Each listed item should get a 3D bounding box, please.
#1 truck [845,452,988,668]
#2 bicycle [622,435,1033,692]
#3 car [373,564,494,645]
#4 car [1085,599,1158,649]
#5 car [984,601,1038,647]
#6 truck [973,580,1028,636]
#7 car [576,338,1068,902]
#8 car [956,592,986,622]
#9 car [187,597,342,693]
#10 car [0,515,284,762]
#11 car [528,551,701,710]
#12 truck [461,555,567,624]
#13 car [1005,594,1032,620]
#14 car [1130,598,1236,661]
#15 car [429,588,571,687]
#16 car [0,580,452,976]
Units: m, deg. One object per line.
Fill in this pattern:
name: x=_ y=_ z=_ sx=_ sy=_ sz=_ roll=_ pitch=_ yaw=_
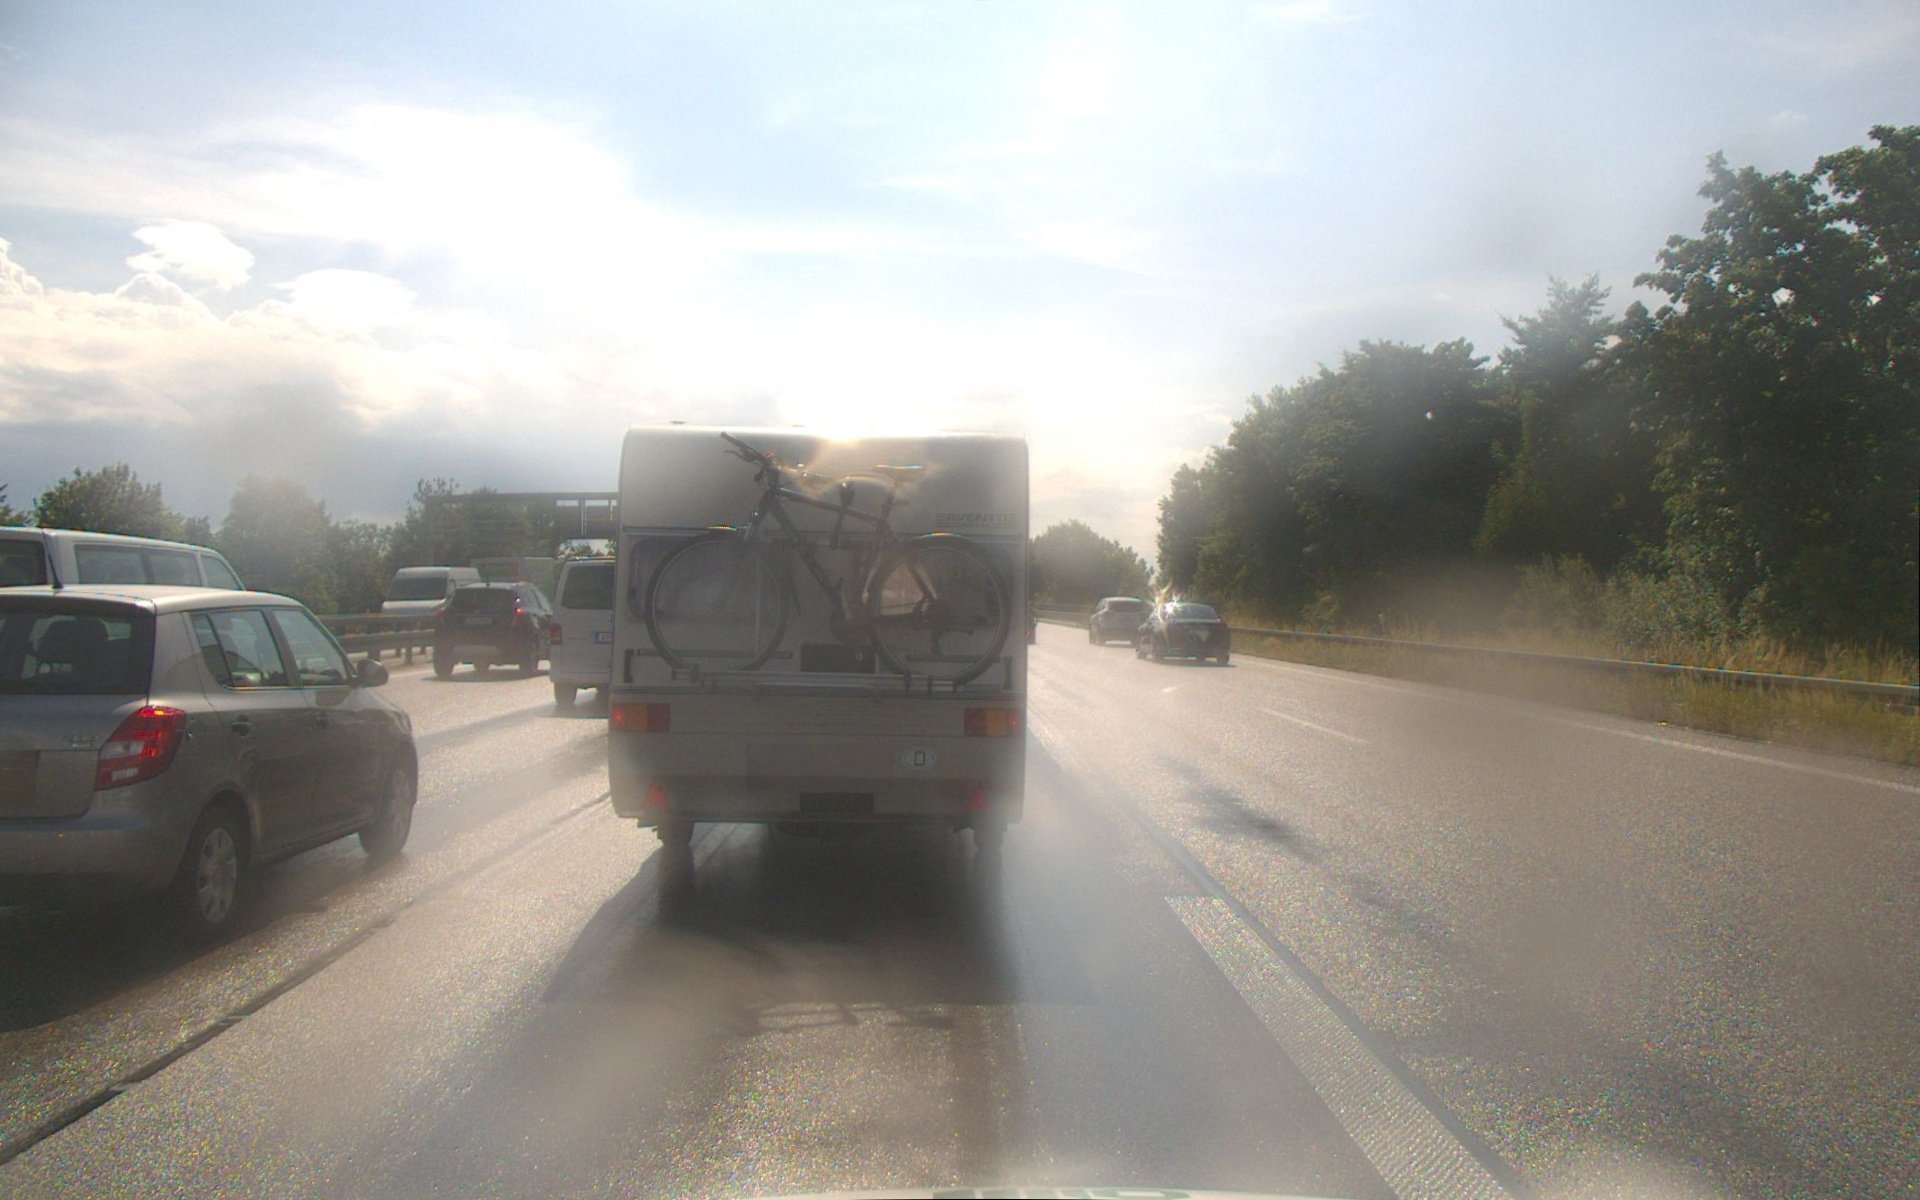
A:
truck: x=-1.170 y=-0.872 z=41.733 sx=3.083 sy=4.707 sz=10.730 roll=1 pitch=0 yaw=-2
bicycle: x=-0.617 y=-0.168 z=7.904 sx=1.894 sy=1.161 sz=0.384 roll=1 pitch=-1 yaw=-1
car: x=-16.893 y=0.132 z=53.432 sx=2.071 sy=2.438 sz=6.101 roll=1 pitch=0 yaw=-1
car: x=5.688 y=0.829 z=58.636 sx=1.840 sy=1.657 sz=3.995 roll=1 pitch=0 yaw=-5
car: x=1.826 y=0.863 z=60.730 sx=1.798 sy=1.585 sz=3.999 roll=1 pitch=0 yaw=-1
truck: x=1.879 y=0.364 z=78.207 sx=2.366 sy=2.486 sz=6.052 roll=1 pitch=0 yaw=-1
car: x=-0.691 y=0.107 z=10.104 sx=2.361 sy=2.721 sz=3.999 roll=1 pitch=0 yaw=-1
car: x=0.652 y=0.423 z=97.753 sx=1.684 sy=1.713 sz=3.999 roll=1 pitch=0 yaw=-1
car: x=-15.684 y=0.965 z=37.533 sx=1.954 sy=2.025 sz=3.998 roll=1 pitch=0 yaw=-3
car: x=-8.291 y=0.296 z=15.696 sx=1.810 sy=1.967 sz=5.014 roll=1 pitch=0 yaw=-2
car: x=-4.805 y=0.407 z=23.535 sx=1.839 sy=2.049 sz=3.997 roll=1 pitch=0 yaw=-4
truck: x=-21.064 y=-0.457 z=78.662 sx=2.857 sy=3.039 sz=8.719 roll=1 pitch=0 yaw=-1
car: x=4.043 y=0.474 z=114.229 sx=1.684 sy=1.713 sz=3.999 roll=1 pitch=0 yaw=-1
car: x=5.648 y=0.732 z=42.322 sx=1.840 sy=1.521 sz=3.995 roll=1 pitch=0 yaw=-5
car: x=-8.454 y=0.655 z=30.730 sx=1.737 sy=1.691 sz=3.997 roll=1 pitch=0 yaw=-4
car: x=-4.051 y=0.656 z=8.118 sx=1.947 sy=1.483 sz=3.826 roll=1 pitch=0 yaw=-1
